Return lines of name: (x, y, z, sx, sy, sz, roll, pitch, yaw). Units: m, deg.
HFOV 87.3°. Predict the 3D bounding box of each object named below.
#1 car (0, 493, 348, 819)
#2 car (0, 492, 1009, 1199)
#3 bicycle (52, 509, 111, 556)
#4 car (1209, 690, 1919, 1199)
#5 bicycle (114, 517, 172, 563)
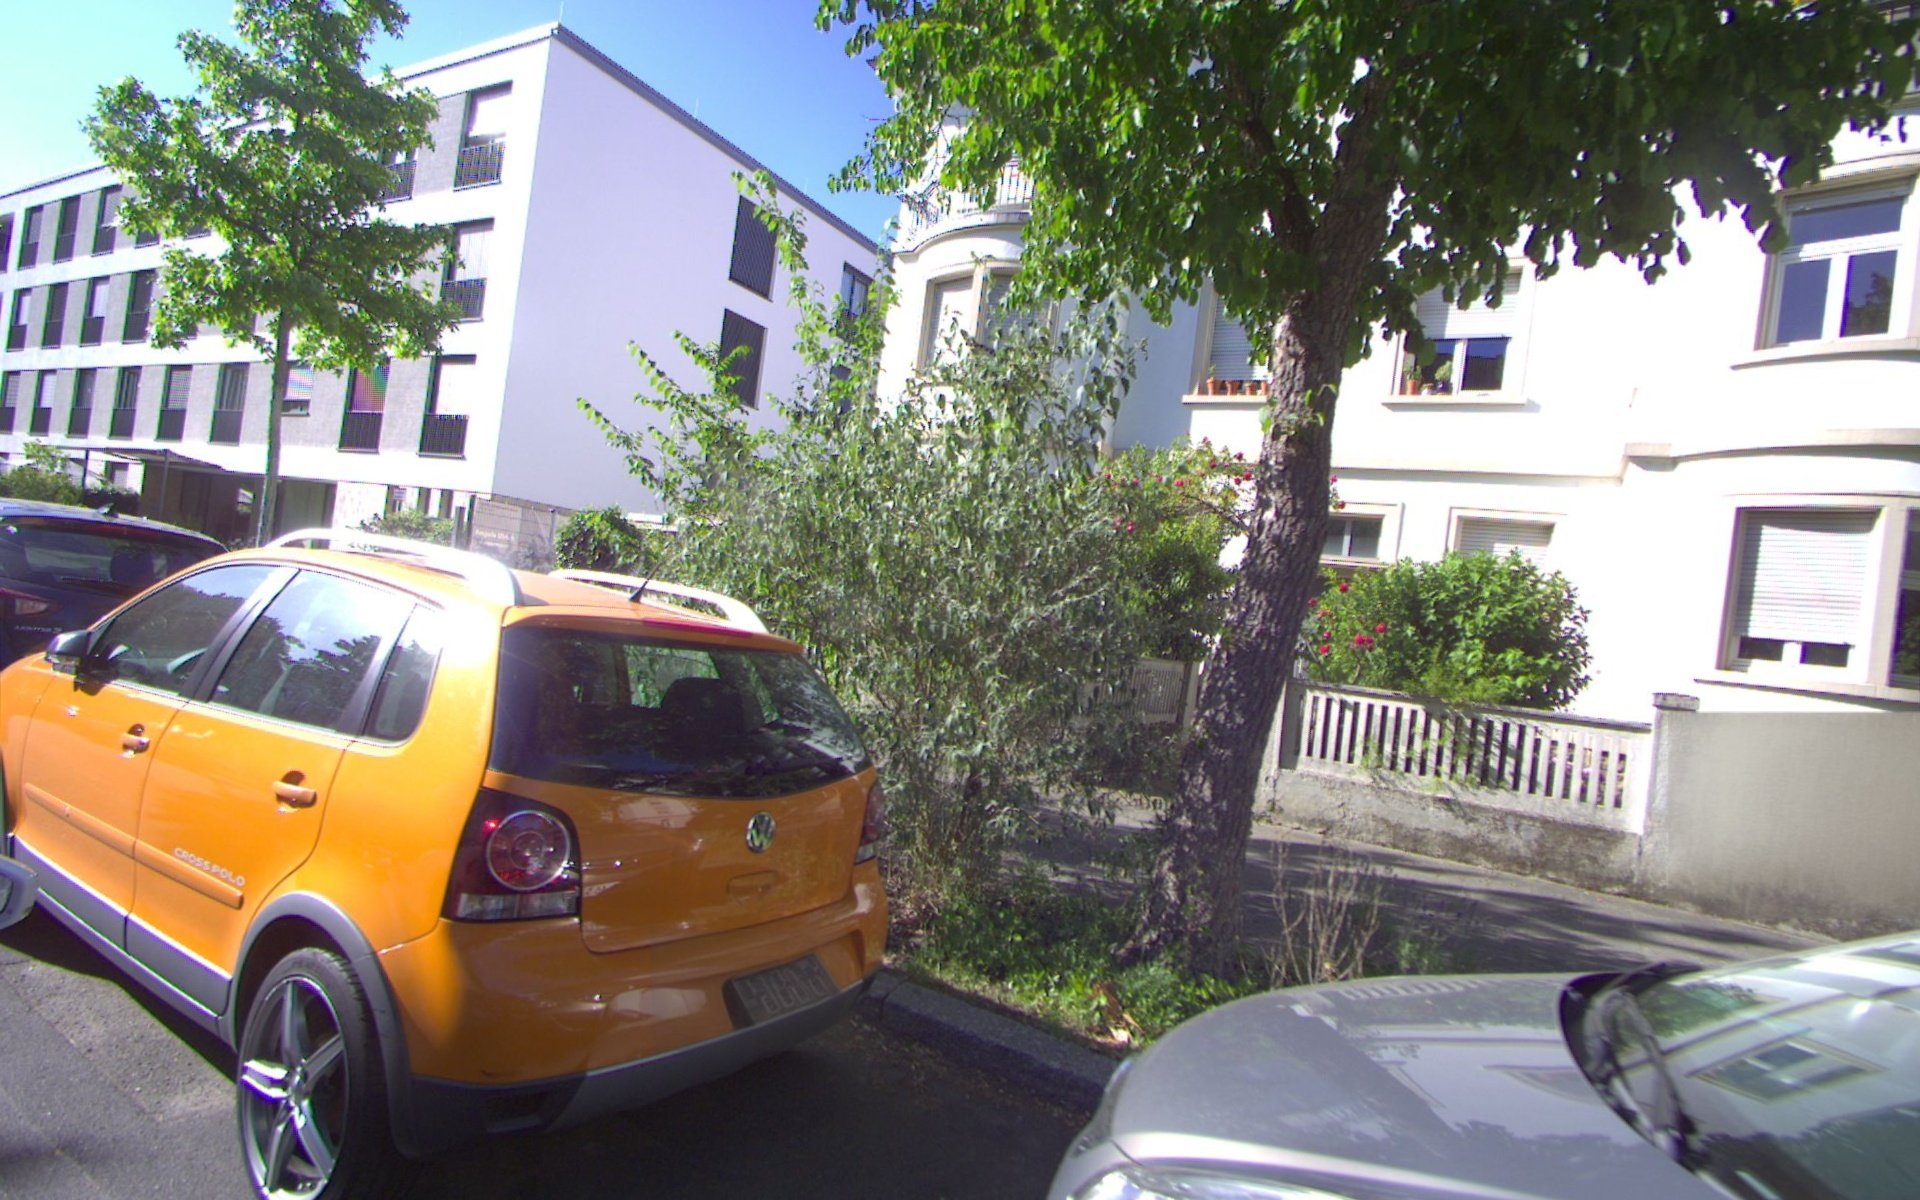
car: (-5.720, 0.105, 6.087, 4.014, 1.466, 1.703, 7, 0, 32)
car: (-2.060, 0.543, 3.502, 4.031, 1.472, 1.639, 7, -1, 31)
bicycle: (-23.172, -1.778, 26.522, 1.662, 1.068, 0.547, 7, 0, 29)
car: (2.174, 1.068, 0.938, 3.550, 1.445, 1.652, 7, 0, 29)
bicycle: (-22.517, -1.663, 27.716, 1.749, 1.068, 0.547, 7, 0, 29)
